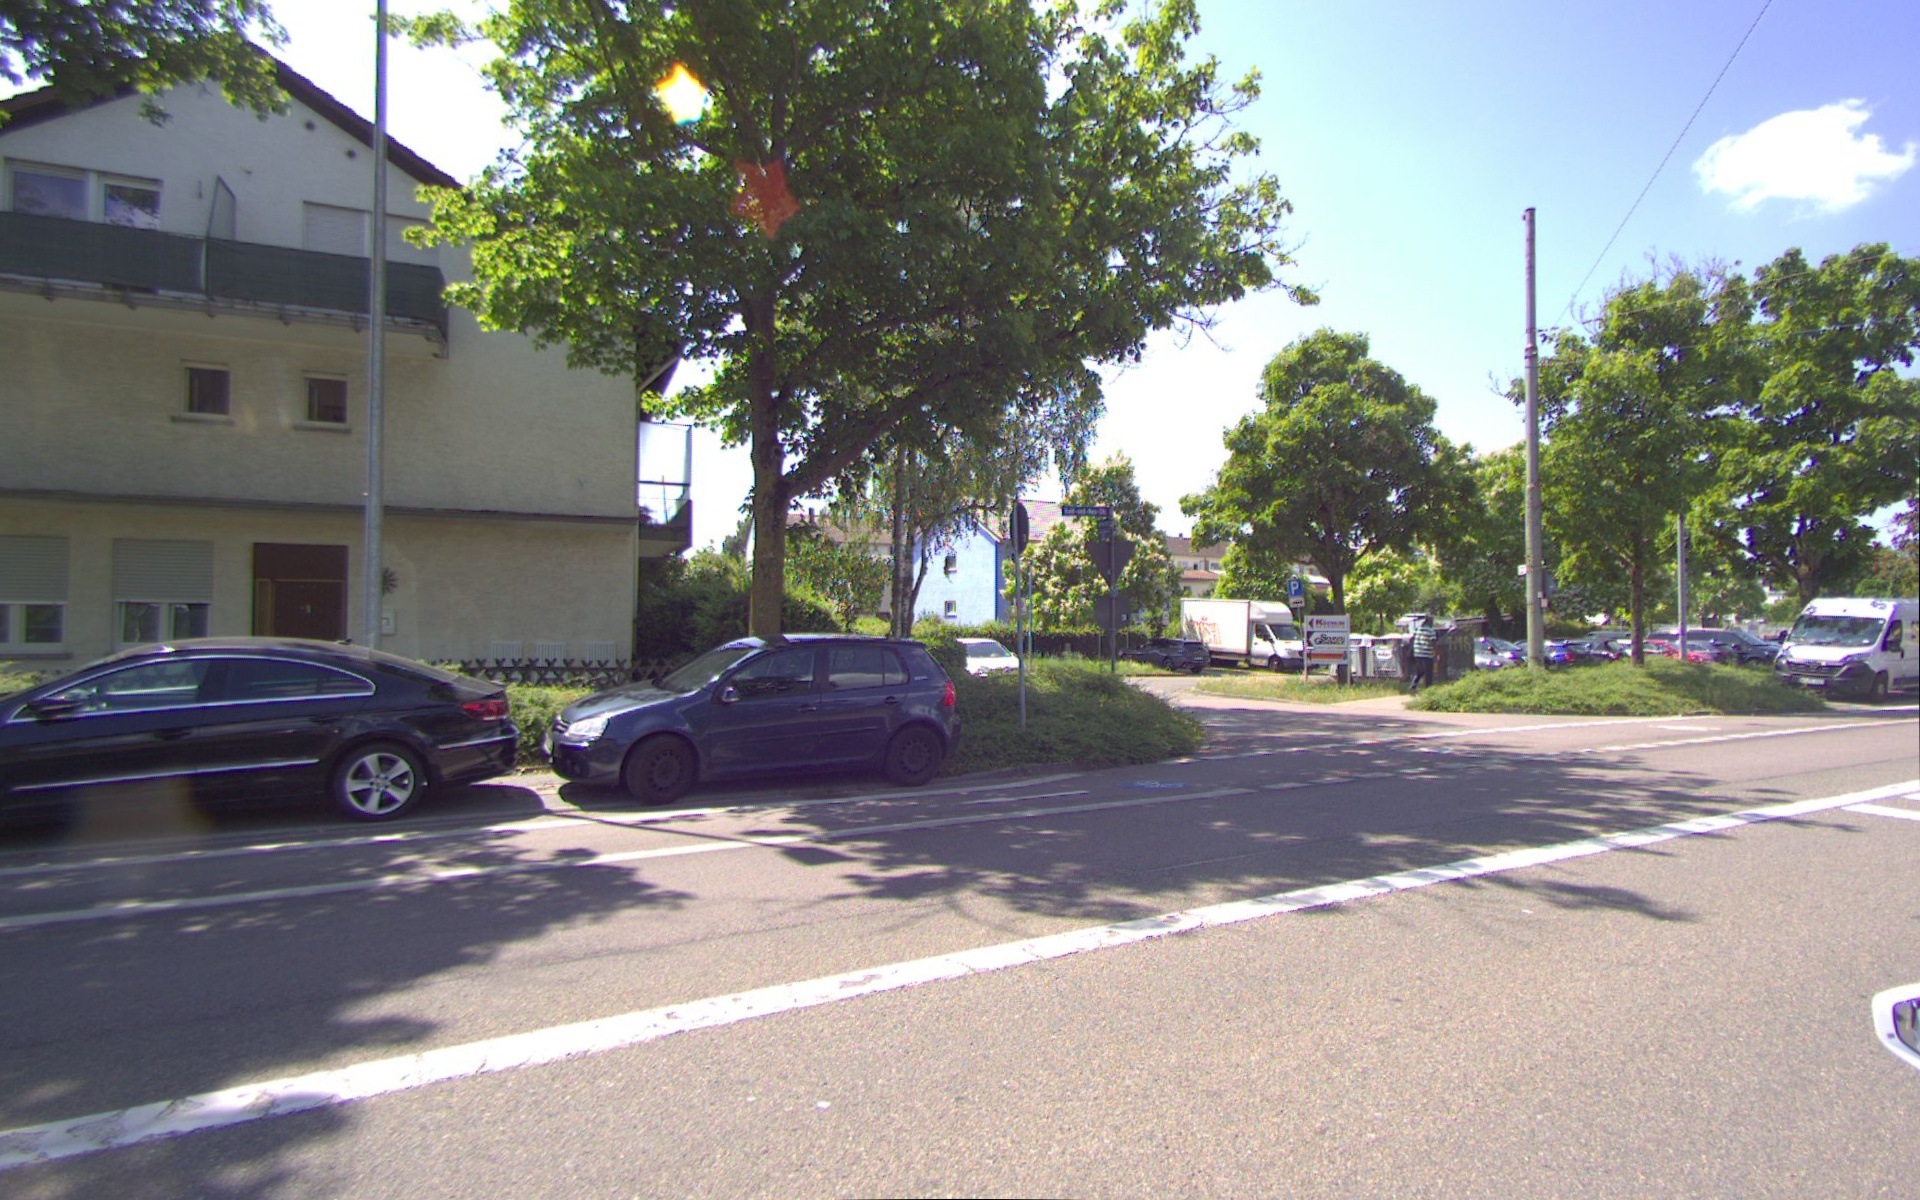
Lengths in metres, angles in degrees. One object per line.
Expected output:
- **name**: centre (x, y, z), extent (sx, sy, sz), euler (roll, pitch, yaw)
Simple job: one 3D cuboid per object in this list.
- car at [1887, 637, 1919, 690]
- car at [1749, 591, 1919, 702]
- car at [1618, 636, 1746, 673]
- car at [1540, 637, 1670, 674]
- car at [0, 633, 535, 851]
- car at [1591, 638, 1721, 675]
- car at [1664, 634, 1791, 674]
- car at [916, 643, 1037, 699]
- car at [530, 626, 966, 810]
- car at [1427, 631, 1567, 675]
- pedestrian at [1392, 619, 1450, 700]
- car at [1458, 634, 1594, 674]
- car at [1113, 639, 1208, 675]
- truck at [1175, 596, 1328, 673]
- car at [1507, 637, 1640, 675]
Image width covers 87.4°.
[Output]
- **car**: centre (28.504, 1.803, 28.628), extent (4.291, 1.456, 1.860), euler (1, -2, -30)
- **car**: centre (22.885, 1.123, 25.519), extent (6.115, 2.520, 2.148), euler (1, 1, -28)
- **car**: centre (30.106, 2.250, 41.994), extent (1.784, 1.461, 3.968), euler (1, -2, -30)
- **car**: centre (25.493, 2.162, 39.824), extent (1.784, 1.357, 3.967), euler (1, -2, -31)
- **car**: centre (-6.034, 0.996, 8.017), extent (4.645, 1.391, 1.765), euler (1, 0, -32)
- **car**: centre (28.008, 2.239, 40.536), extent (1.784, 1.357, 3.967), euler (1, -2, -31)
- **car**: centre (32.725, 2.270, 42.928), extent (1.784, 1.627, 3.967), euler (1, -2, -31)
- **car**: centre (0.374, 1.921, 28.075), extent (1.787, 1.376, 3.974), euler (1, -2, -26)
- **car**: centre (-2.106, 1.050, 10.242), extent (4.001, 1.500, 1.766), euler (1, 0, -31)
- **car**: centre (18.580, 1.801, 34.944), extent (1.784, 1.461, 3.967), euler (1, -2, -31)
- **pedestrian**: centre (10.790, 1.373, 23.518), extent (0.786, 1.847, 0.968), euler (1, -2, -35)
- **car**: centre (20.462, 1.908, 36.482), extent (1.784, 1.357, 3.967), euler (1, -2, -31)
- **car**: centre (8.366, 2.356, 42.239), extent (1.753, 1.417, 3.967), euler (1, -2, -31)
- **truck**: centre (13.315, 1.584, 46.547), extent (2.307, 3.270, 7.149), euler (1, -2, -32)
- **car**: centre (23.333, 2.097, 38.350), extent (1.784, 1.357, 3.967), euler (1, -2, -31)
